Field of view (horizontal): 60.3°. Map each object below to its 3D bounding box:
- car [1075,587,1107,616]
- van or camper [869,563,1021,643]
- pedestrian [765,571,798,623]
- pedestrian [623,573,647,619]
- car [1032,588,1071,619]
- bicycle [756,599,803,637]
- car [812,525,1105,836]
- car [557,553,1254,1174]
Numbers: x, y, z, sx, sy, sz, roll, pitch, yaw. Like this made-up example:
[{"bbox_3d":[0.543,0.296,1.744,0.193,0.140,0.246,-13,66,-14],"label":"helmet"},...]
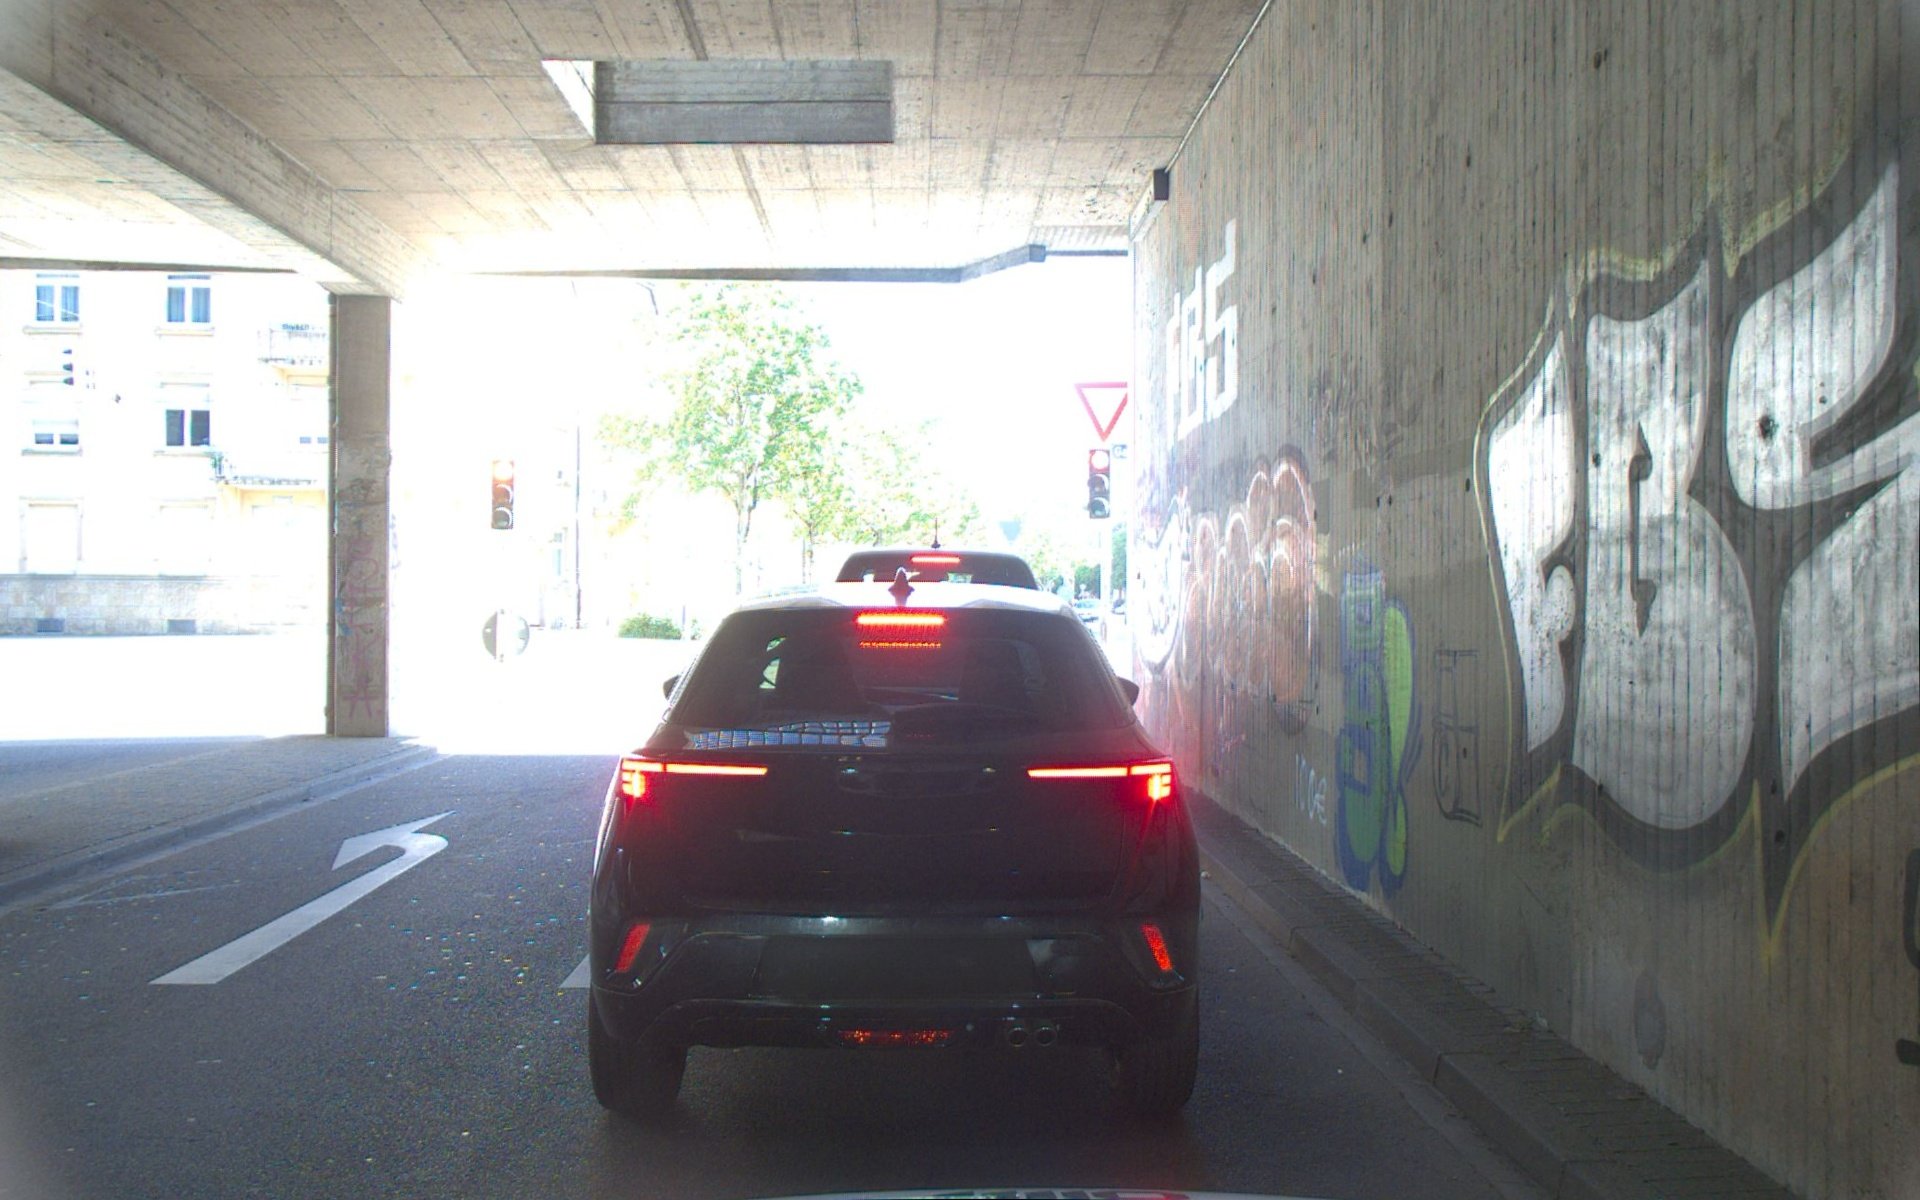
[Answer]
[{"bbox_3d":[7.644,0.058,96.012,1.550,1.668,3.809,0,0,9],"label":"car"},{"bbox_3d":[-0.358,0.083,43.615,3.795,2.049,2.002,0,0,7],"label":"van or camper"},{"bbox_3d":[-5.547,-0.091,51.358,0.720,1.612,0.891,1,-1,15],"label":"pedestrian"},{"bbox_3d":[-12.408,-0.153,63.176,0.610,1.734,0.723,1,-1,19],"label":"pedestrian"},{"bbox_3d":[4.494,0.162,80.907,1.564,1.477,3.798,0,0,9],"label":"car"},{"bbox_3d":[-5.573,0.554,51.273,0.721,1.150,2.027,0,0,16],"label":"bicycle"},{"bbox_3d":[-0.028,0.478,12.004,1.749,1.865,3.960,1,0,-1],"label":"car"},{"bbox_3d":[-0.149,0.651,6.138,1.718,1.525,4.000,1,0,-1],"label":"car"}]
